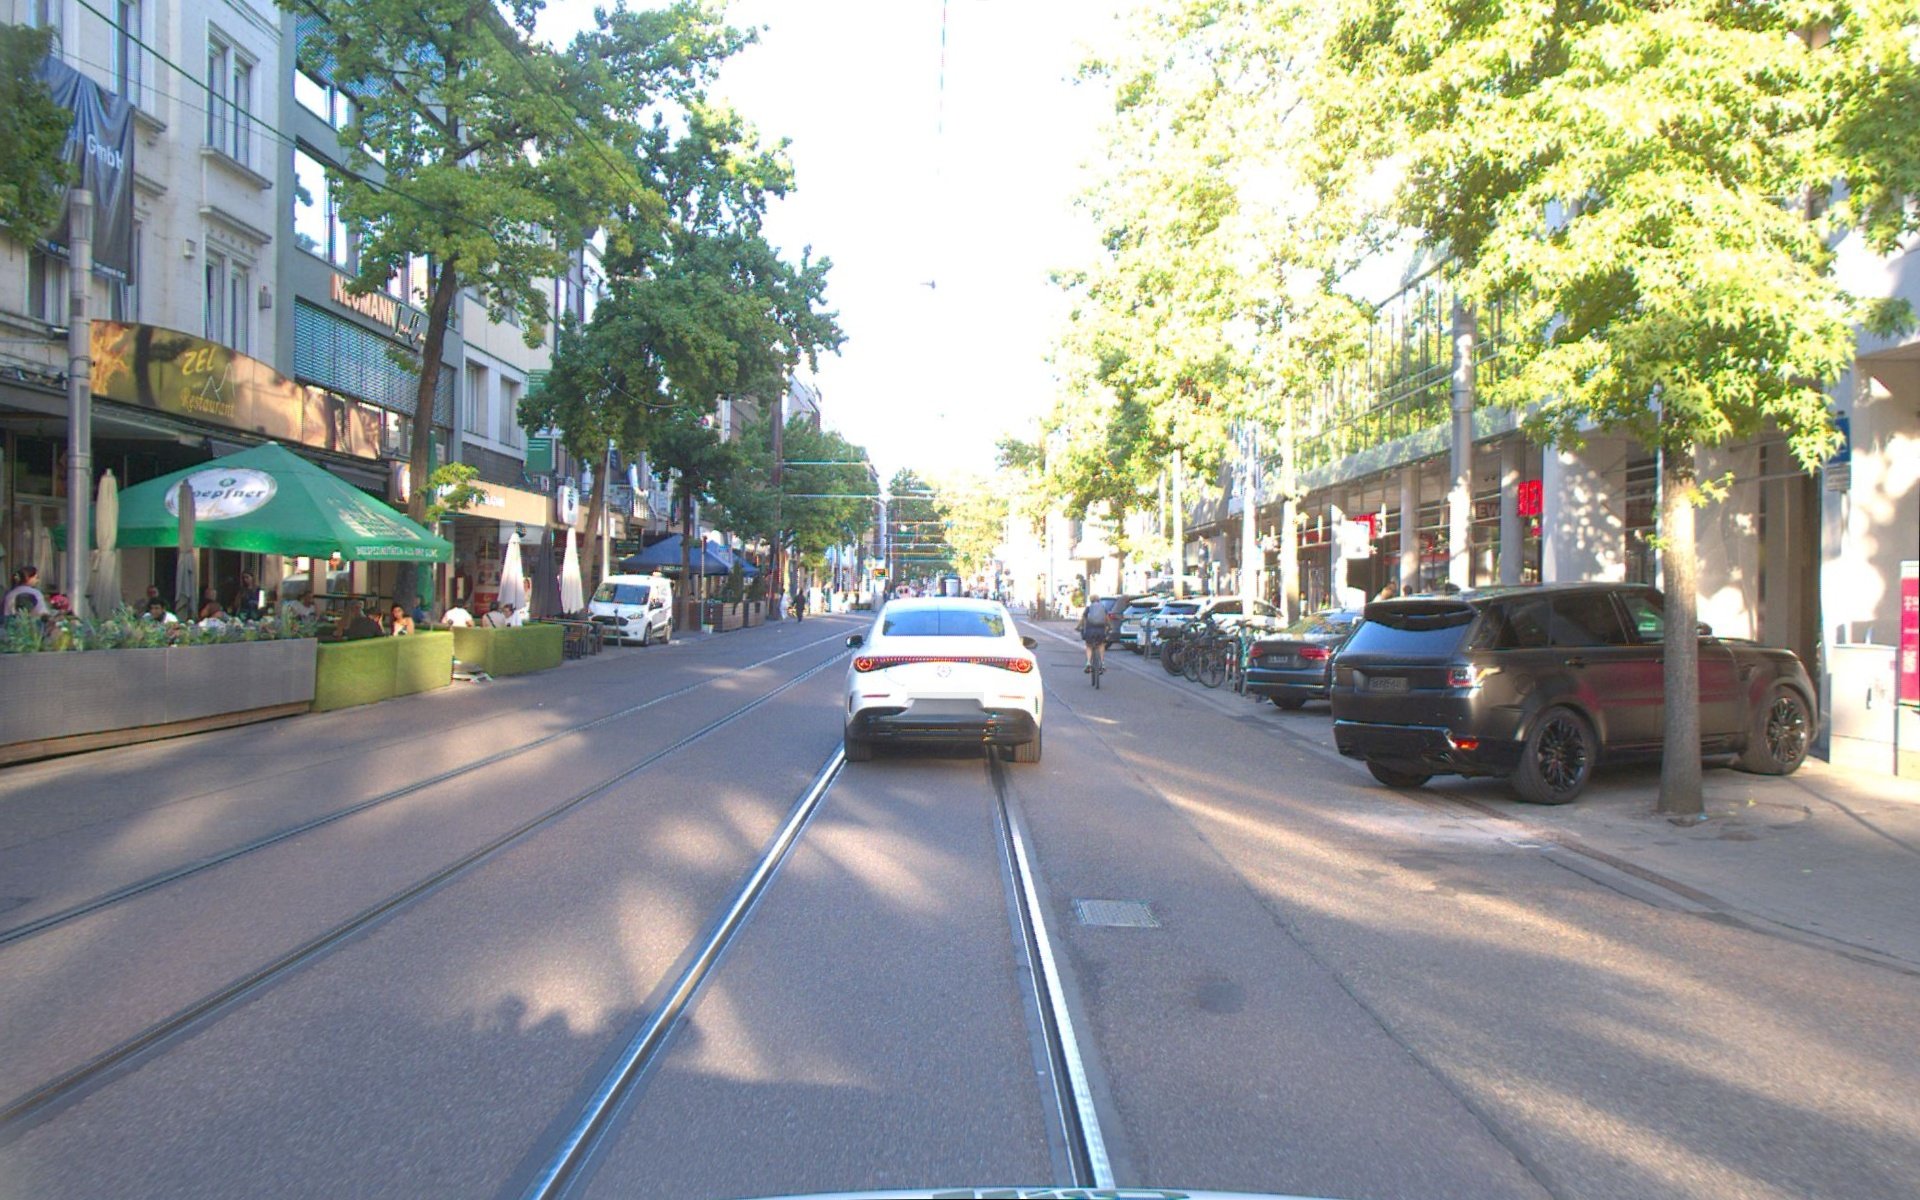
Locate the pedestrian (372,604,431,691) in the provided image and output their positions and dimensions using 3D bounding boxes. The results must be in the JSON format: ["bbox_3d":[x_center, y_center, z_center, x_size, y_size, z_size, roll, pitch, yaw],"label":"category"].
[{"bbox_3d":[-8.558,0.716,25.352,0.606,1.266,0.697,3,0,-1],"label":"pedestrian"}]

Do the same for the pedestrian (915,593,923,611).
[{"bbox_3d":[-4.218,0.224,171.729,0.784,1.813,0.849,2,0,-1],"label":"pedestrian"}]

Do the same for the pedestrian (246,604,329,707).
[{"bbox_3d":[-8.724,0.710,21.469,0.693,1.281,0.772,2,0,2],"label":"pedestrian"}]

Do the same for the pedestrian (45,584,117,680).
[{"bbox_3d":[-12.778,0.456,24.060,0.606,1.332,0.697,3,0,-1],"label":"pedestrian"}]

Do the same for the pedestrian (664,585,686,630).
[{"bbox_3d":[-10.490,0.276,60.877,0.659,1.635,0.719,1,0,-1],"label":"pedestrian"}]

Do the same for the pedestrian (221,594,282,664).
[{"bbox_3d":[-12.620,0.502,29.468,0.686,1.188,0.788,3,0,-1],"label":"pedestrian"}]

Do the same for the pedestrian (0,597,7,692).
[{"bbox_3d":[-12.375,0.551,20.584,0.589,1.194,0.687,2,0,0],"label":"pedestrian"}]

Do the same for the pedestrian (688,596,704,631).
[{"bbox_3d":[-9.576,0.479,60.033,0.484,1.249,0.535,1,0,-1],"label":"pedestrian"}]

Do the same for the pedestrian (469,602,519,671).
[{"bbox_3d":[-8.903,0.691,31.604,0.643,1.266,0.872,3,0,-1],"label":"pedestrian"}]

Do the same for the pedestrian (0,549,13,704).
[{"bbox_3d":[-11.428,0.294,18.950,0.664,1.787,0.697,2,0,1],"label":"pedestrian"}]

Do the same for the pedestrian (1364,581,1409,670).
[{"bbox_3d":[8.397,0.496,32.542,0.667,1.726,0.548,1,0,-13],"label":"pedestrian"}]

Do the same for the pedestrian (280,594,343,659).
[{"bbox_3d":[-12.592,0.507,32.147,0.737,1.209,1.065,3,0,-1],"label":"pedestrian"}]

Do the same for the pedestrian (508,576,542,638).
[{"bbox_3d":[-11.478,0.181,43.686,0.634,1.601,0.700,3,0,-1],"label":"pedestrian"}]

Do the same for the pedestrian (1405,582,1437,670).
[{"bbox_3d":[9.165,0.509,32.883,0.506,1.726,0.550,1,0,4],"label":"pedestrian"}]

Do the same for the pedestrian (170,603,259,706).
[{"bbox_3d":[-9.683,0.692,21.503,0.693,1.281,0.869,2,0,2],"label":"pedestrian"}]

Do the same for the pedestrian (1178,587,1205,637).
[{"bbox_3d":[8.246,0.427,58.902,0.677,1.761,0.629,-2,0,42],"label":"pedestrian"}]

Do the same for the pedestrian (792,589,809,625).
[{"bbox_3d":[-7.244,0.322,74.939,0.609,1.577,0.852,3,0,0],"label":"pedestrian"}]

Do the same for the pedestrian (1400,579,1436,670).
[{"bbox_3d":[9.104,0.479,32.869,0.512,1.781,0.559,-2,0,2],"label":"pedestrian"}]

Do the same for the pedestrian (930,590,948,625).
[{"bbox_3d":[-1.111,0.405,87.676,0.824,1.832,0.790,2,0,1],"label":"pedestrian"}]

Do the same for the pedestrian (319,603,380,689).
[{"bbox_3d":[-9.303,0.694,25.228,0.606,1.266,0.697,3,0,-1],"label":"pedestrian"}]

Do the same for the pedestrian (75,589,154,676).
[{"bbox_3d":[-12.793,0.482,25.048,0.721,1.253,0.788,3,0,-1],"label":"pedestrian"}]

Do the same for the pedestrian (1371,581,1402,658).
[{"bbox_3d":[10.092,0.452,39.115,0.545,1.781,0.525,-2,0,0],"label":"pedestrian"}]

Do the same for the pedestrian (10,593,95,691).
[{"bbox_3d":[-12.187,0.554,22.233,0.656,1.264,0.798,2,0,-1],"label":"pedestrian"}]

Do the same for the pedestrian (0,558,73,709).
[{"bbox_3d":[-10.821,0.382,19.201,0.606,1.699,0.697,2,0,-1],"label":"pedestrian"}]

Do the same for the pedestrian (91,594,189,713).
[{"bbox_3d":[-9.558,0.614,19.305,0.675,1.335,0.807,2,0,0],"label":"pedestrian"}]

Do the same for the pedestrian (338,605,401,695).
[{"bbox_3d":[-8.664,0.729,24.277,0.606,1.266,0.697,3,0,-1],"label":"pedestrian"}]

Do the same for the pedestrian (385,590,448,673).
[{"bbox_3d":[-9.455,0.538,28.817,0.739,1.367,0.872,3,0,-1],"label":"pedestrian"}]

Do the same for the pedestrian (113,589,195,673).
[{"bbox_3d":[-12.712,0.476,26.104,0.761,1.258,0.945,3,0,-1],"label":"pedestrian"}]

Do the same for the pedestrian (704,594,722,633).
[{"bbox_3d":[-8.761,0.469,58.676,0.538,1.380,0.582,1,0,-1],"label":"pedestrian"}]

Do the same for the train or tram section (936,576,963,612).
[{"bbox_3d":[-1.042,-0.602,170.490,2.639,3.578,12.544,0,0,0],"label":"train or tram section"}]

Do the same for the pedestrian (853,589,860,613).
[{"bbox_3d":[-8.339,0.098,133.140,0.527,1.963,0.573,0,0,3],"label":"pedestrian"}]

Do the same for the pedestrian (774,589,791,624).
[{"bbox_3d":[-7.944,0.279,74.067,0.609,1.535,0.833,3,0,0],"label":"pedestrian"}]

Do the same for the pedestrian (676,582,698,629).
[{"bbox_3d":[-10.345,0.204,62.693,0.703,1.755,0.675,1,0,-1],"label":"pedestrian"}]

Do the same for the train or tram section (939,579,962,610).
[{"bbox_3d":[-1.098,-0.645,194.883,2.639,3.578,11.142,0,0,0],"label":"train or tram section"}]

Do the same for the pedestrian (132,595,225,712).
[{"bbox_3d":[-9.529,0.638,20.181,0.693,1.371,0.781,2,0,2],"label":"pedestrian"}]

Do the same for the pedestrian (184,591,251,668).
[{"bbox_3d":[-12.646,0.495,28.192,0.721,1.235,0.788,3,0,-1],"label":"pedestrian"}]

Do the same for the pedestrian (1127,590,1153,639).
[{"bbox_3d":[6.421,0.517,58.976,0.667,1.715,0.694,-2,0,33],"label":"pedestrian"}]

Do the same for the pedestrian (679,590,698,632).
[{"bbox_3d":[-9.639,0.395,58.720,0.538,1.454,0.582,1,0,-1],"label":"pedestrian"}]

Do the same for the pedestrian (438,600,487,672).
[{"bbox_3d":[-9.517,0.682,31.662,0.643,1.315,0.798,3,0,-1],"label":"pedestrian"}]

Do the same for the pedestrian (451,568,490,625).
[{"bbox_3d":[-13.245,-0.088,44.774,0.754,1.492,0.764,3,0,-3],"label":"pedestrian"}]

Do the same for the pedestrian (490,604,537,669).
[{"bbox_3d":[-8.769,0.712,32.494,0.643,1.214,0.798,3,0,-1],"label":"pedestrian"}]
